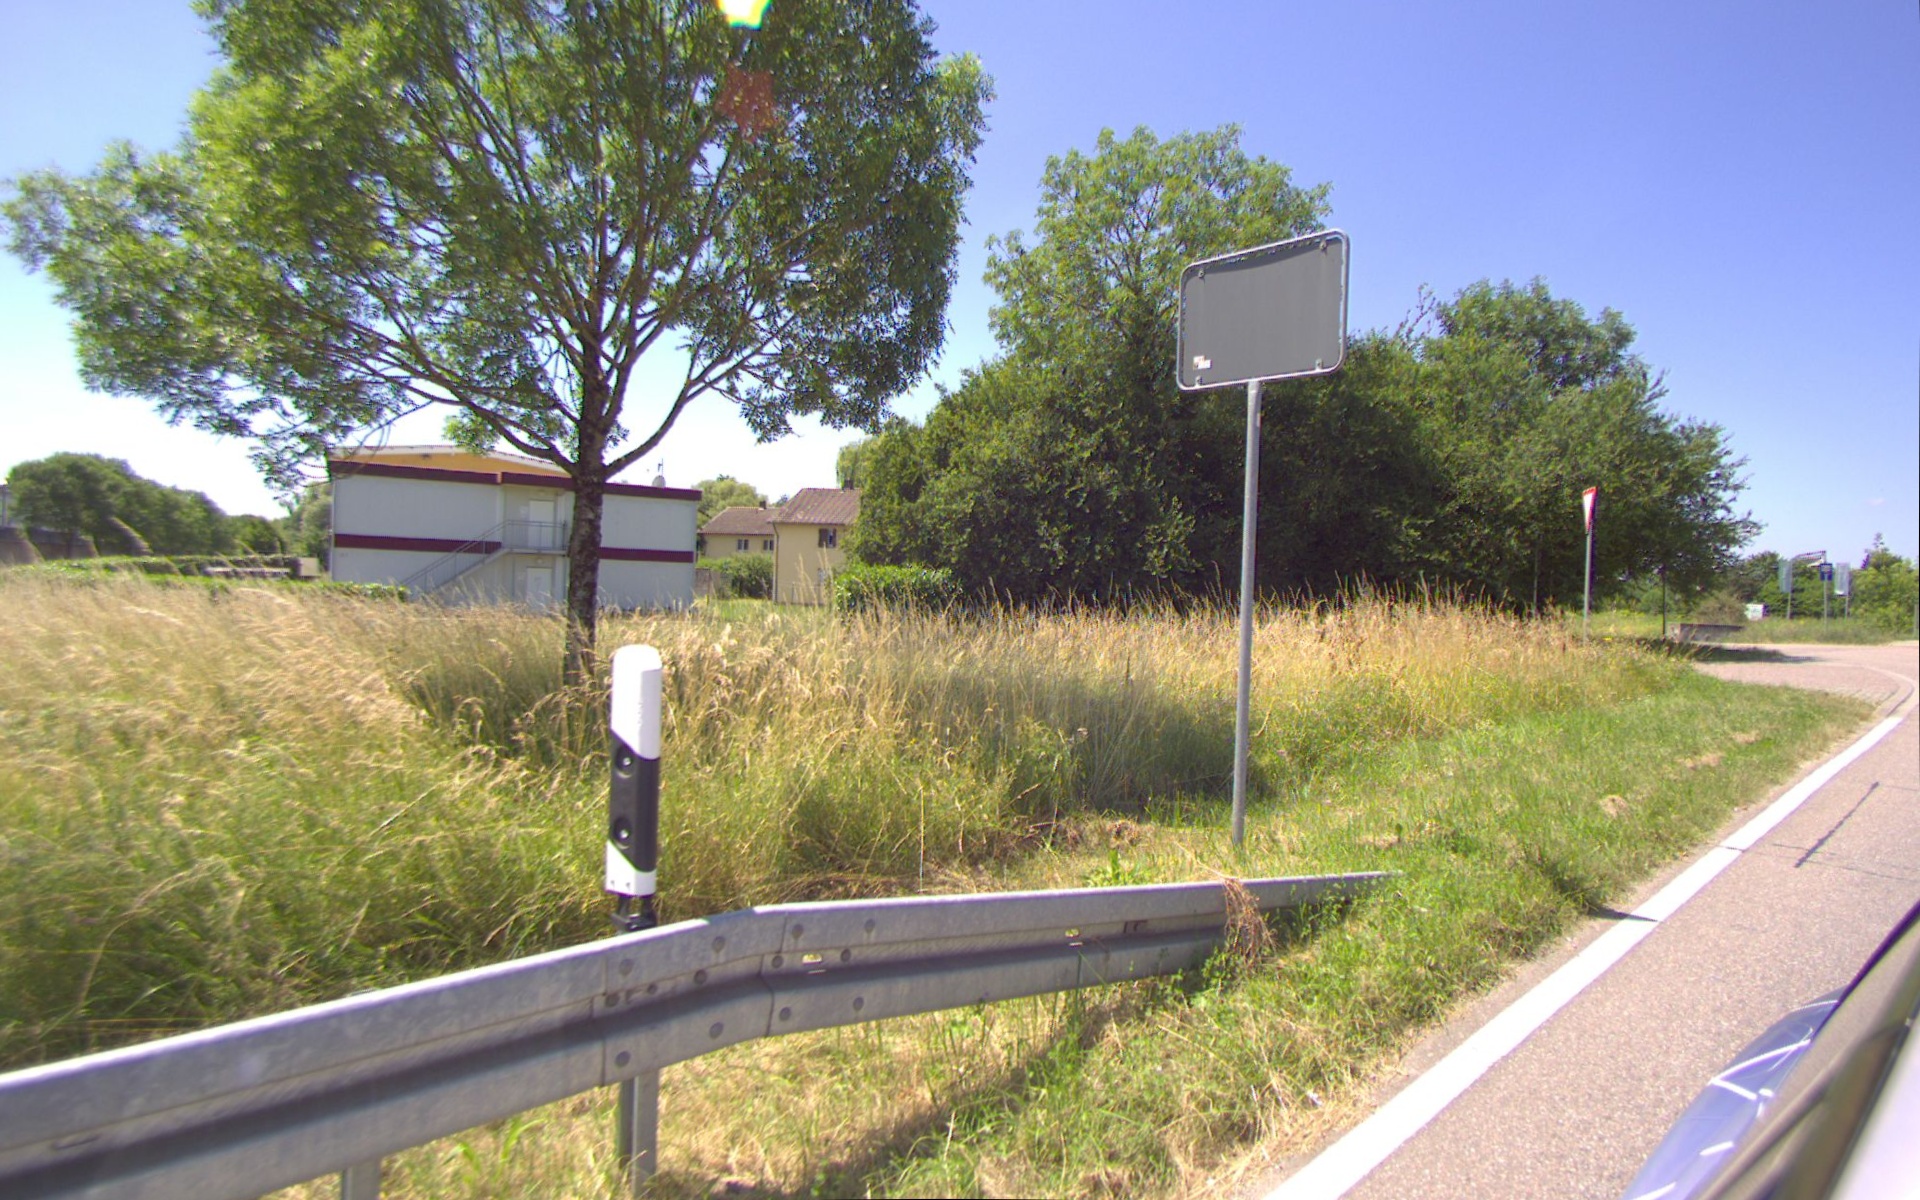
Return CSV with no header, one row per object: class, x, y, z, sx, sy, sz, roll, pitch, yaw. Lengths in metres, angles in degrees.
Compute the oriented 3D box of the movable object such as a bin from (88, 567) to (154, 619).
movable object such as a bin,-27.883,-0.236,33.677,1.531,1.708,1.231,0,1,-32
